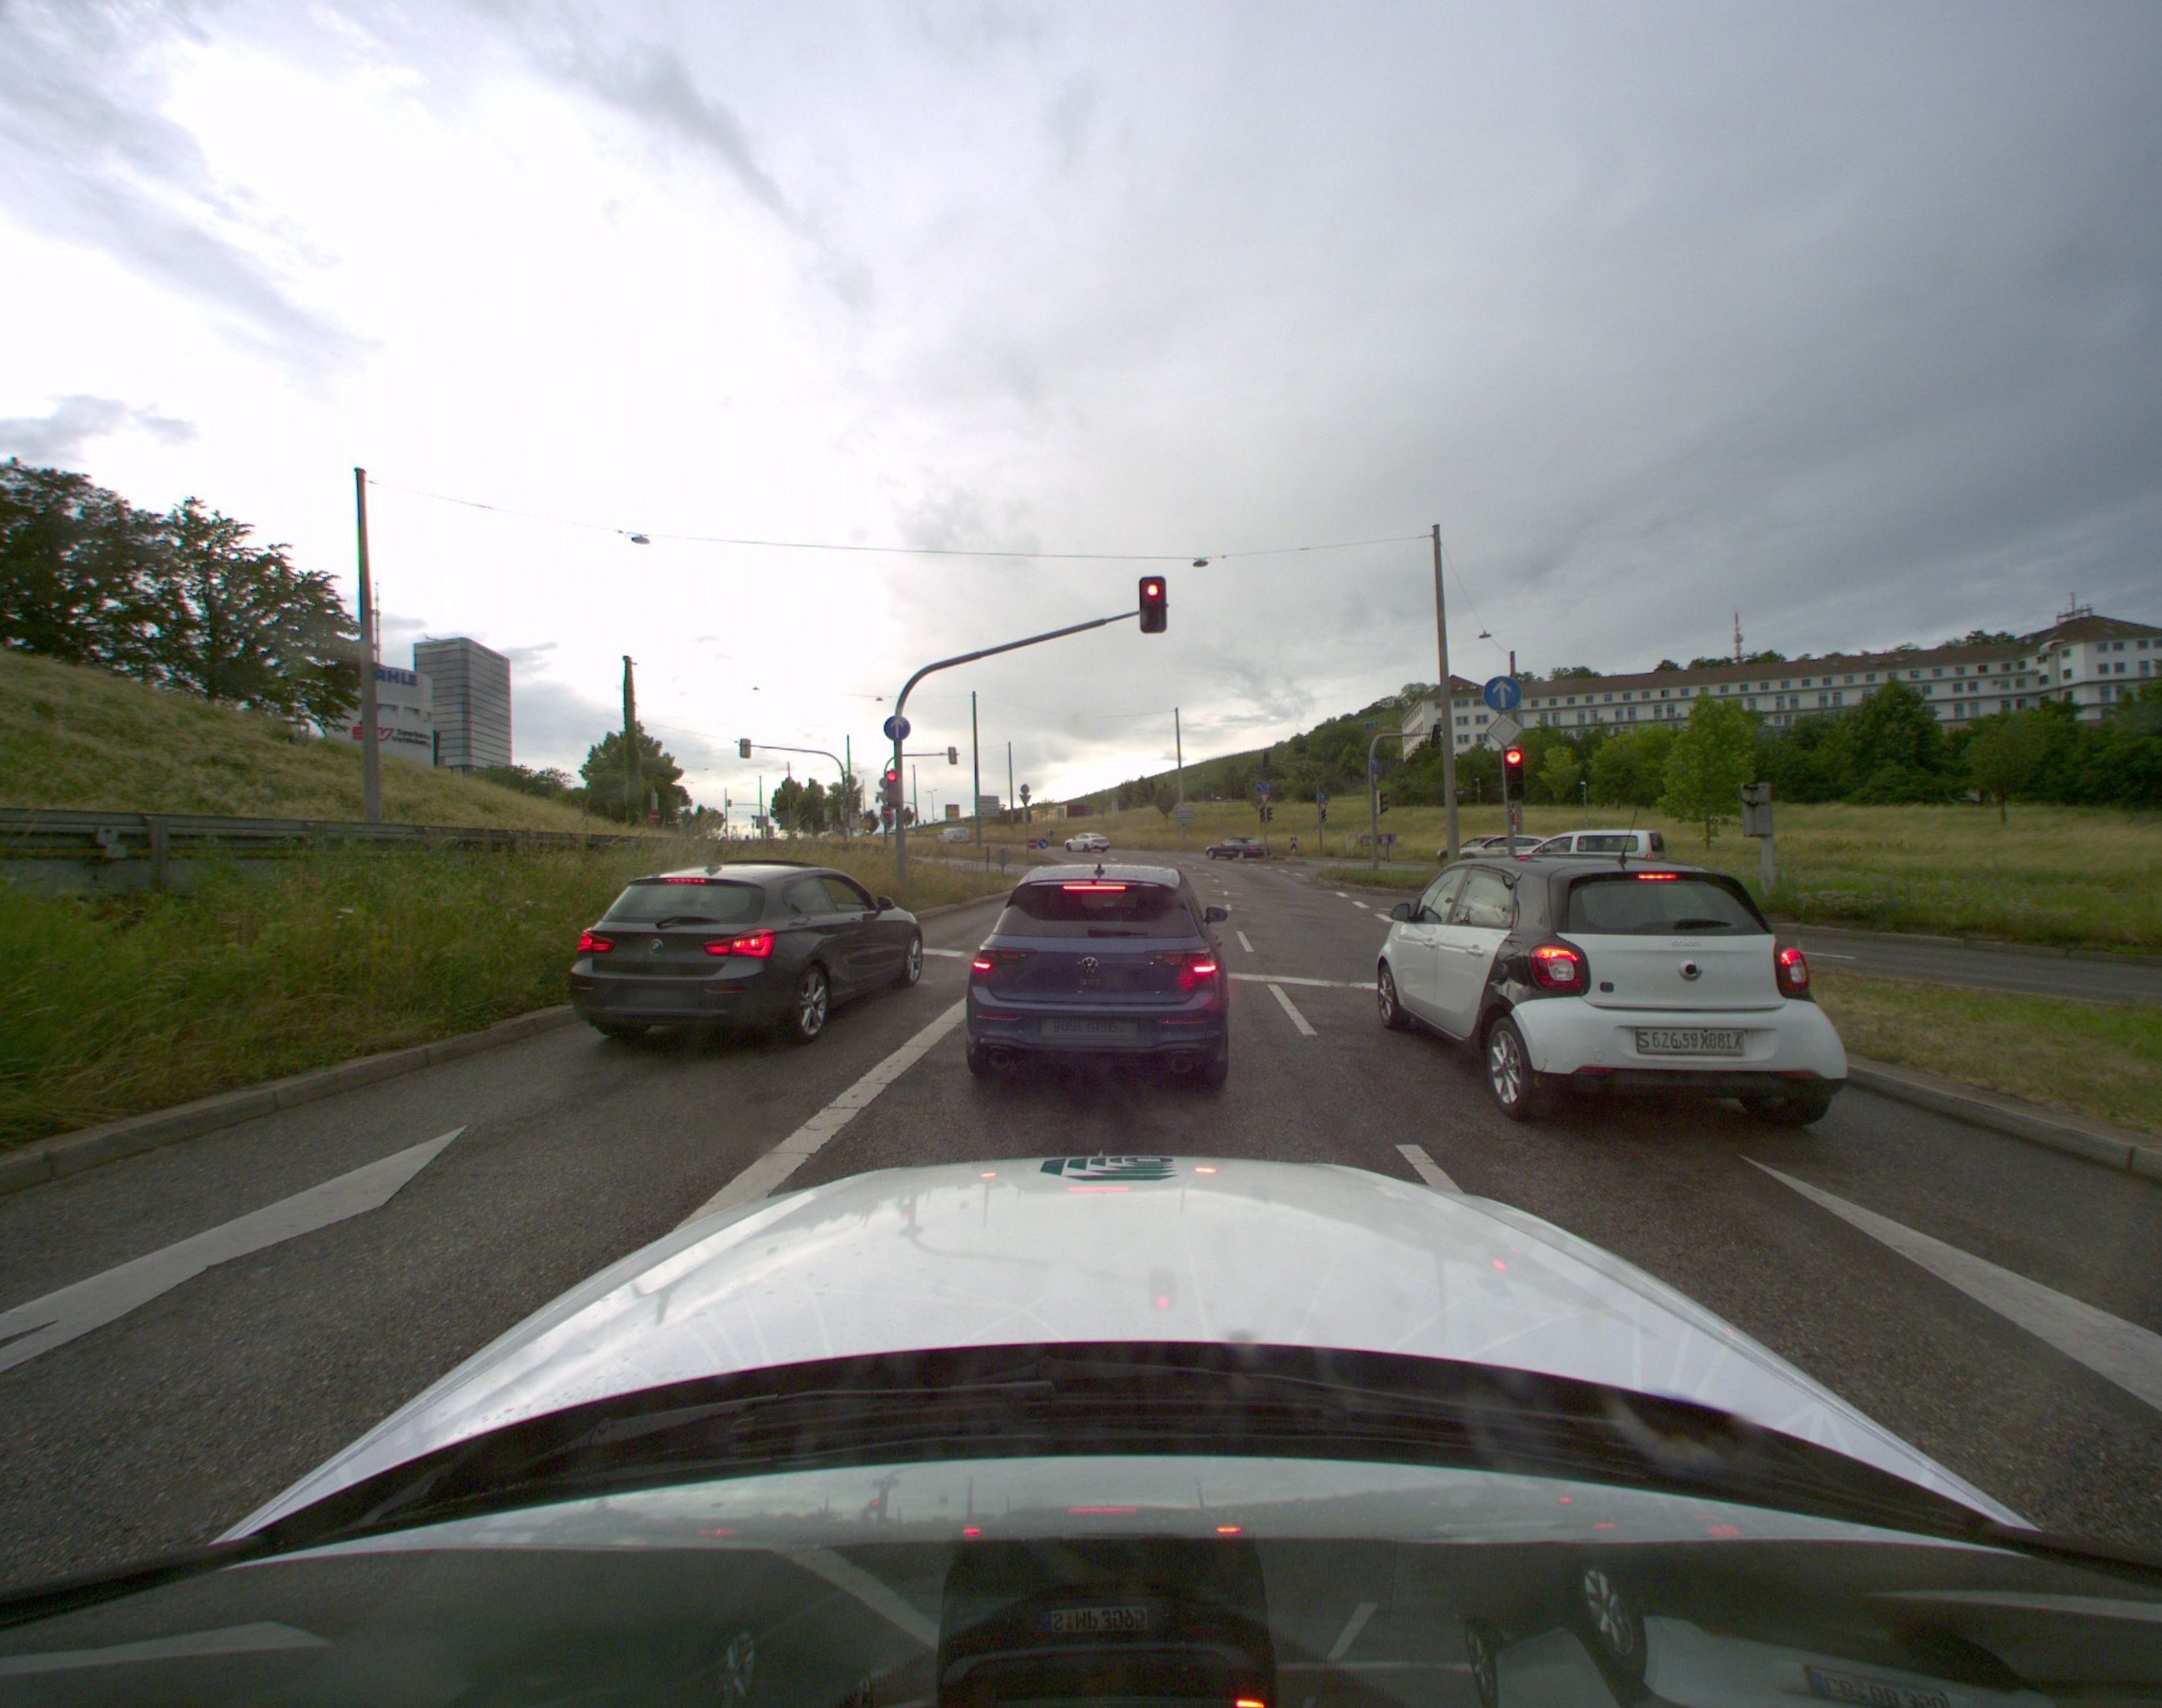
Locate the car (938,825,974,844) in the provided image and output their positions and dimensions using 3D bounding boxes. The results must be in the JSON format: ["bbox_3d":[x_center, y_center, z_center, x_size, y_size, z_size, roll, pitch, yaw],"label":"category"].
[{"bbox_3d":[-13.440,-2.060,87.321,2.143,1.794,4.692,0,-1,-32],"label":"car"}]

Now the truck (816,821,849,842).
[{"bbox_3d":[-39.845,-3.627,130.483,3.281,3.074,6.111,2,0,-35],"label":"truck"}]

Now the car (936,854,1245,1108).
[{"bbox_3d":[0.233,0.747,6.718,1.816,1.460,3.814,-1,0,6],"label":"car"}]

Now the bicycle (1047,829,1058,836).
[{"bbox_3d":[-3.309,-2.505,93.940,0.522,0.775,1.604,2,0,-35],"label":"bicycle"}]

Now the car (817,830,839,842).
[{"bbox_3d":[-37.429,-2.604,120.652,2.008,1.659,4.308,0,-1,-33],"label":"car"}]

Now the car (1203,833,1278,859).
[{"bbox_3d":[9.899,-0.480,50.852,2.008,1.477,4.455,0,-1,-33],"label":"car"}]

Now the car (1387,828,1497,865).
[{"bbox_3d":[17.183,-0.293,38.943,2.008,1.637,4.373,0,-1,-35],"label":"car"}]

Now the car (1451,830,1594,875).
[{"bbox_3d":[17.187,-0.016,31.861,2.010,1.620,4.472,0,-1,-39],"label":"car"}]

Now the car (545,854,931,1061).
[{"bbox_3d":[-2.852,0.773,7.884,1.694,1.460,4.119,-1,-1,5],"label":"car"}]

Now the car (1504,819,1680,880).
[{"bbox_3d":[16.986,-0.101,27.265,1.831,1.850,4.643,0,-1,-40],"label":"car"}]

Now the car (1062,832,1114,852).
[{"bbox_3d":[0.558,-0.940,65.052,2.008,1.477,4.373,0,-1,-35],"label":"car"}]

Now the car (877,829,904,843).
[{"bbox_3d":[-25.059,-2.403,107.157,2.008,1.659,4.497,0,-1,-33],"label":"car"}]

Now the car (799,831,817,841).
[{"bbox_3d":[-49.136,-3.210,146.532,2.008,1.659,4.498,1,0,-33],"label":"car"}]

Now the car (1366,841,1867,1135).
[{"bbox_3d":[3.368,0.713,5.965,1.649,1.503,3.456,-1,-1,6],"label":"car"}]

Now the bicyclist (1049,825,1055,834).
[{"bbox_3d":[-3.354,-2.842,94.045,0.527,1.046,0.574,2,0,-36],"label":"bicyclist"}]
